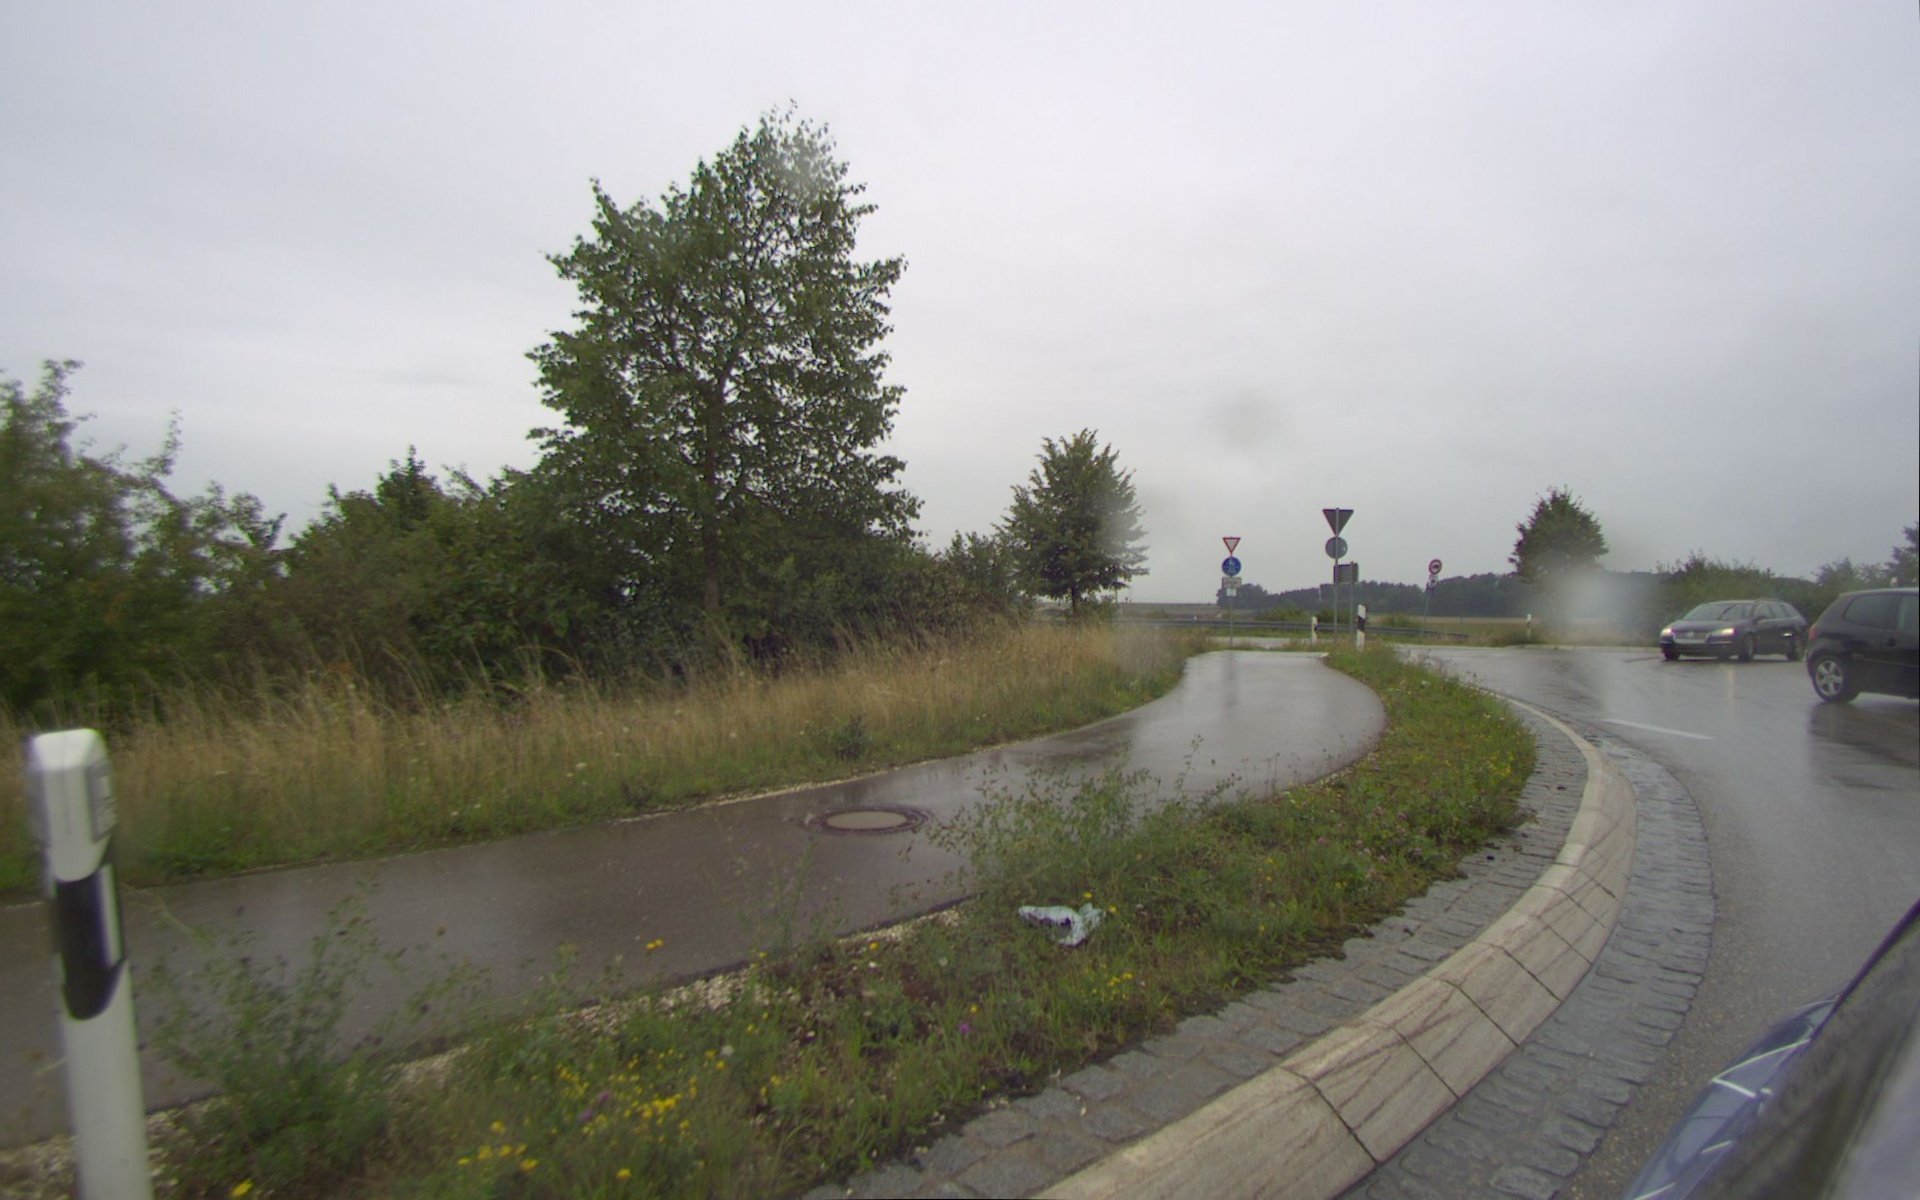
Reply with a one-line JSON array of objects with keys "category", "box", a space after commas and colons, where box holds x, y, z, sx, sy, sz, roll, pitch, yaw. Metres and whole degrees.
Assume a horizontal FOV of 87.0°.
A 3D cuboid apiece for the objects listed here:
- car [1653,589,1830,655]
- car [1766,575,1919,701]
[{"category": "car", "box": [18.858, 0.530, 24.374, 4.414, 1.388, 1.951, 3, 0, -32]}, {"category": "car", "box": [11.958, 0.462, 11.642, 1.840, 1.439, 4.500, 2, 0, 2]}]
